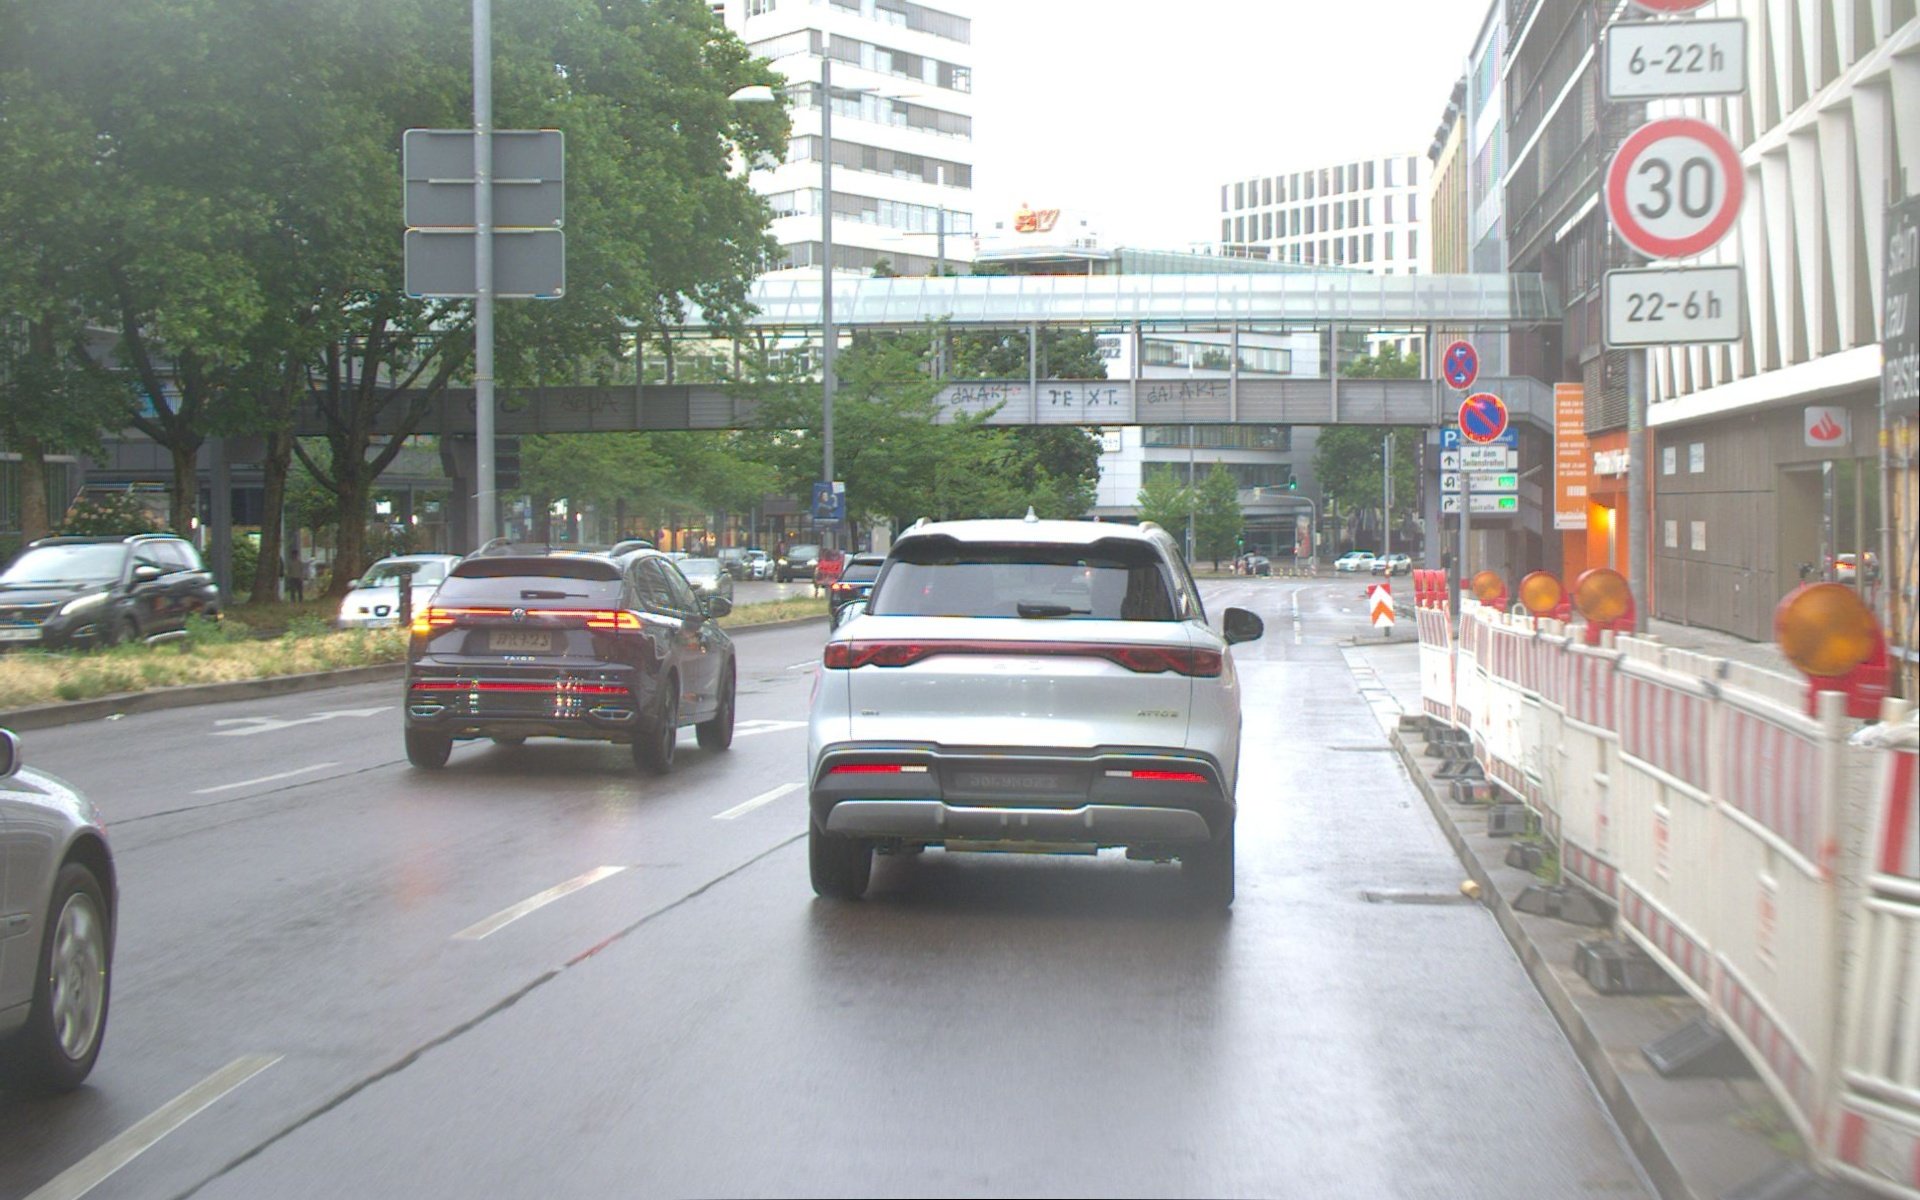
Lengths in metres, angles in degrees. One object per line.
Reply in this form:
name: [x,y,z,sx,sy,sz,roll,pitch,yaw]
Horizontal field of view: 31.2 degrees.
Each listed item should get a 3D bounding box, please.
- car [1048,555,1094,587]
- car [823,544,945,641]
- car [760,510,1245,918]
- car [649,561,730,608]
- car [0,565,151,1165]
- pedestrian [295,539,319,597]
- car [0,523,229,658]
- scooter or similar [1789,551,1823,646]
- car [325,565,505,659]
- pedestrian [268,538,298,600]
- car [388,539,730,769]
car: [4.870,-1.292,150.726,1.654,1.337,3.999,1,1,7]
car: [-1.265,-0.150,58.694,1.812,1.573,4.000,1,1,2]
car: [0.327,0.432,15.704,1.901,1.616,3.999,0,1,5]
car: [-8.308,-0.474,105.832,1.691,1.433,4.758,0,0,6]
car: [-3.237,0.633,7.496,1.672,1.474,4.360,1,0,3]
pedestrian: [-19.351,-0.951,101.884,0.559,1.680,0.511,0,1,4]
car: [-9.775,-0.107,38.734,1.700,1.432,4.581,0,0,6]
scooter or similar: [11.158,-0.030,45.335,0.412,1.232,1.188,1,1,14]
car: [-8.197,0.170,52.003,1.597,1.355,4.115,0,0,7]
pedestrian: [-20.074,-0.921,101.998,0.723,1.801,0.617,0,1,6]
car: [-2.662,0.334,23.664,1.774,1.452,4.000,0,0,2]
